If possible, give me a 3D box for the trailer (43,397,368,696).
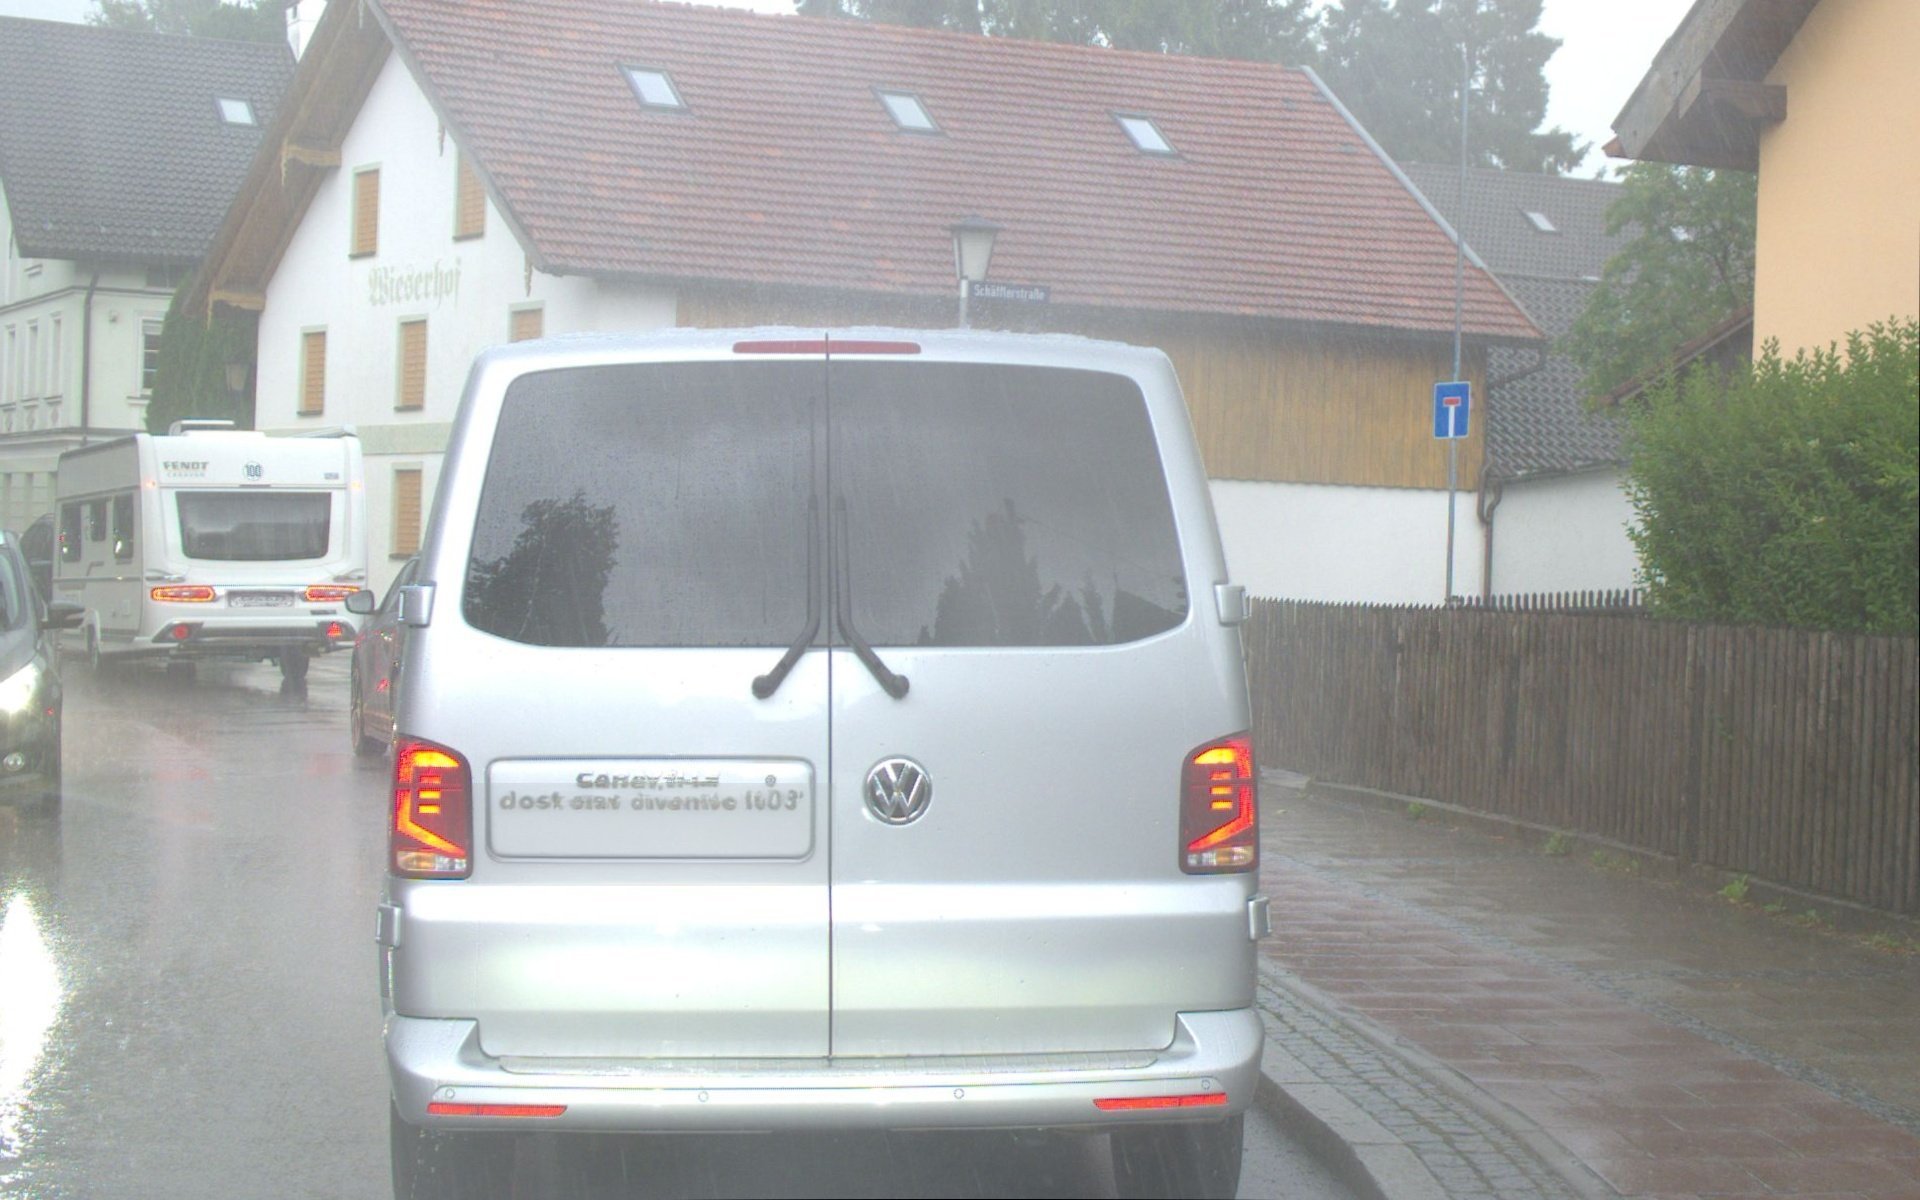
[{"bbox_3d":[-8.138,-0.568,36.556,2.270,2.894,6.134,0,1,-23],"label":"trailer"}]

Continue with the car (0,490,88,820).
[{"bbox_3d":[-6.225,0.260,19.926,1.922,1.738,4.193,0,1,-19],"label":"car"}]

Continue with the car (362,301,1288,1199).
[{"bbox_3d":[-0.259,0.374,9.158,1.776,1.956,5.074,0,1,0],"label":"car"}]

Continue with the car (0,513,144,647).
[{"bbox_3d":[-14.185,-0.319,52.568,2.168,1.893,5.015,2,0,-26],"label":"car"}]

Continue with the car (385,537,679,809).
[{"bbox_3d":[-3.007,0.403,23.426,1.708,1.578,4.687,-1,2,-10],"label":"car"}]
